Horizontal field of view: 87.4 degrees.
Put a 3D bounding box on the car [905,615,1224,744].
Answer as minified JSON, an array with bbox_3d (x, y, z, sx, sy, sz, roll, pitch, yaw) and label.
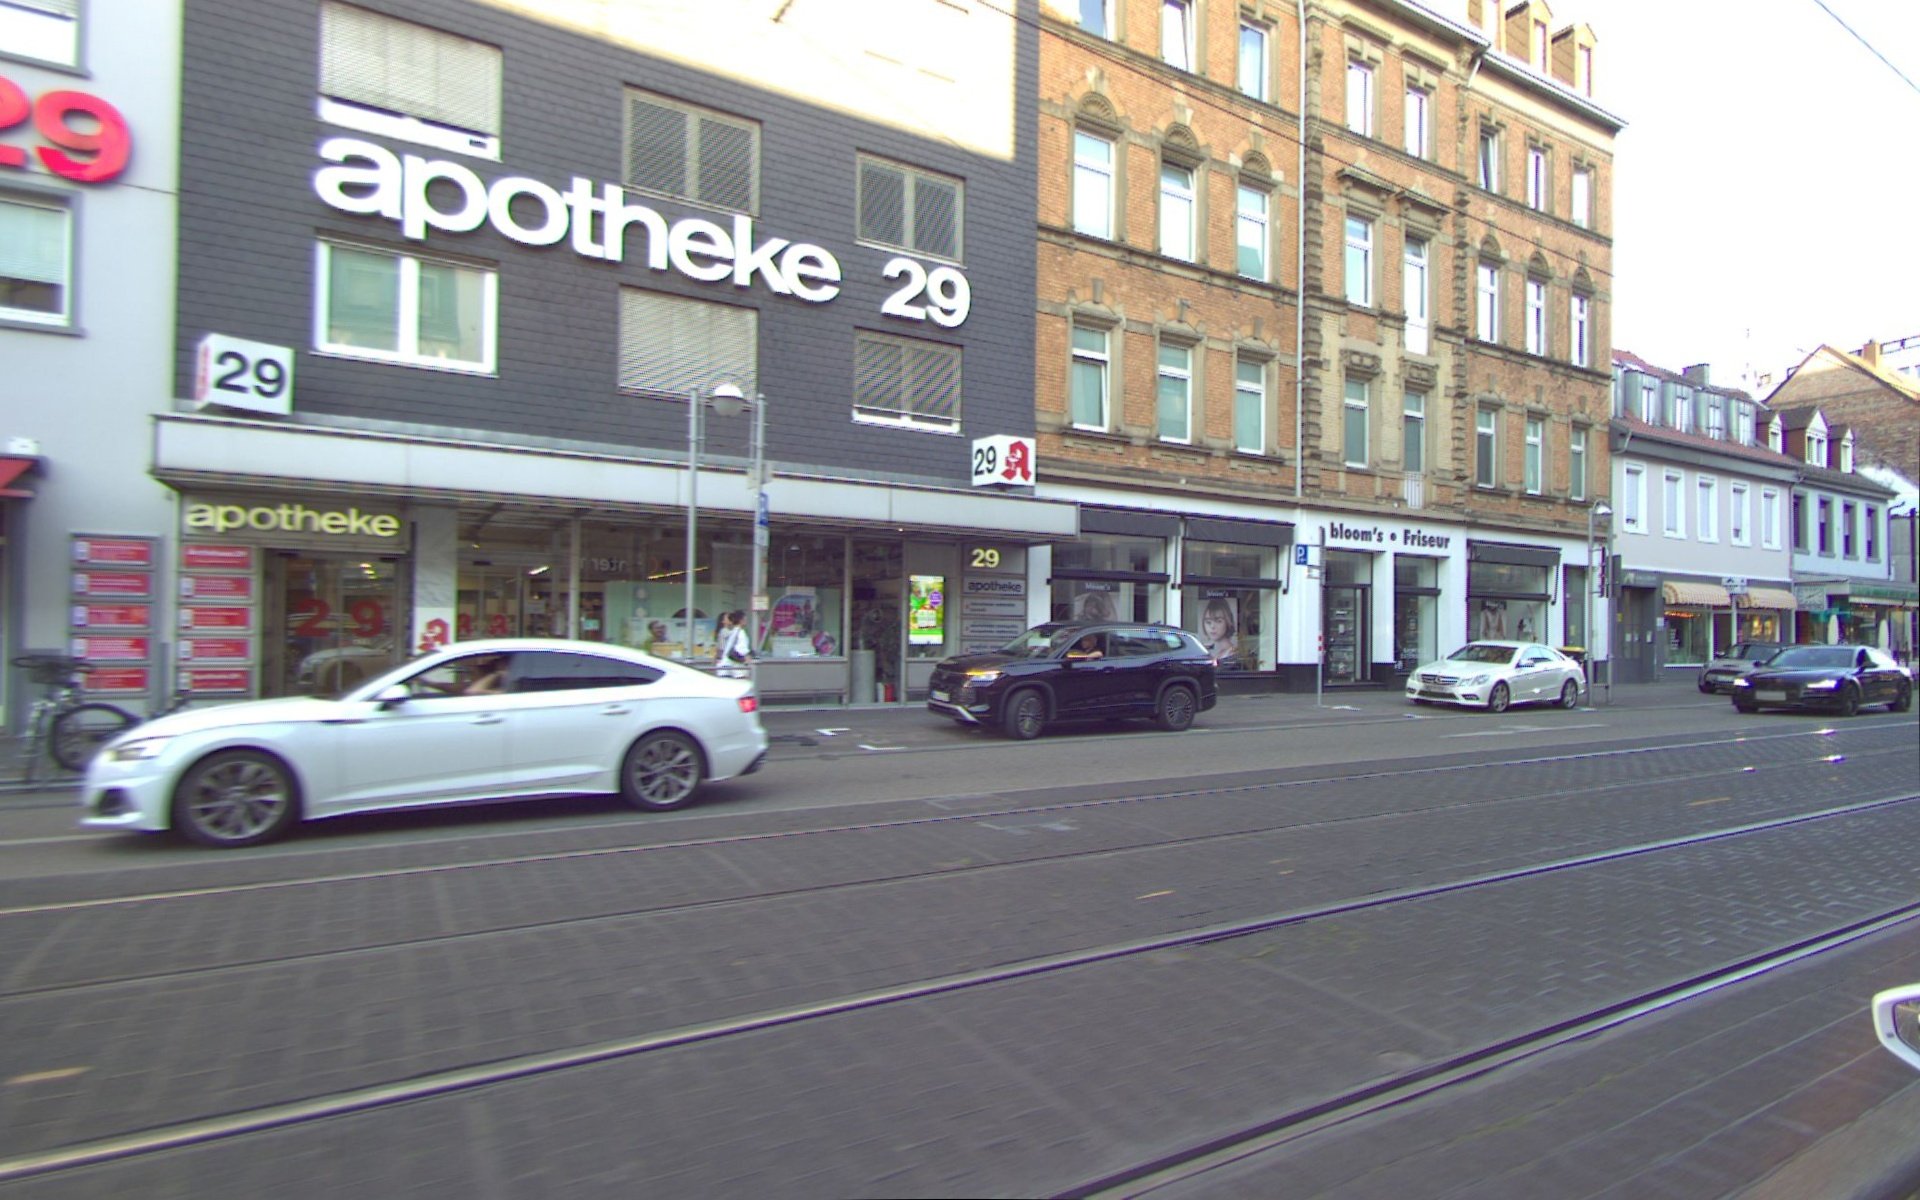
[{"bbox_3d":[1.640,1.130,15.416,4.588,1.697,1.922,1,0,-28],"label":"car"}]

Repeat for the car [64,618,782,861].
[{"bbox_3d":[-3.981,0.967,8.190,4.604,1.471,1.983,2,-4,-32],"label":"car"}]

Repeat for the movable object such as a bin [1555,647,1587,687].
[{"bbox_3d":[17.010,1.863,27.963,0.652,1.057,0.515,1,0,-31],"label":"movable object such as a bin"}]

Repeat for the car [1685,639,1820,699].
[{"bbox_3d":[21.747,1.882,27.548,3.767,1.459,1.591,3,0,-30],"label":"car"}]

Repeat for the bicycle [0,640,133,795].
[{"bbox_3d":[-8.677,1.071,9.815,0.546,1.240,2.102,2,1,-30],"label":"bicycle"}]

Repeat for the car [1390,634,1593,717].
[{"bbox_3d":[11.342,1.539,21.342,4.562,1.472,1.857,2,1,-34],"label":"car"}]

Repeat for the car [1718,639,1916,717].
[{"bbox_3d":[18.162,1.581,21.243,4.599,1.472,1.982,2,-3,-33],"label":"car"}]

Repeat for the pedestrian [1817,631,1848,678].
[{"bbox_3d":[31.267,1.947,36.003,0.686,1.666,0.659,1,-1,-30],"label":"pedestrian"}]

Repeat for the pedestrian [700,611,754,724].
[{"bbox_3d":[-3.569,1.008,15.389,0.617,1.683,0.679,1,0,-30],"label":"pedestrian"}]

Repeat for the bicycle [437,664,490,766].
[{"bbox_3d":[-5.731,1.277,11.555,0.450,0.924,1.796,0,2,-30],"label":"bicycle"}]

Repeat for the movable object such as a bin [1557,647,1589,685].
[{"bbox_3d":[17.504,1.883,28.667,0.686,1.047,0.492,1,0,-31],"label":"movable object such as a bin"}]

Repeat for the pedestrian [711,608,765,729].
[{"bbox_3d":[-3.244,0.980,14.676,0.595,1.722,0.617,1,0,-30],"label":"pedestrian"}]

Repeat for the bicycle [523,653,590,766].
[{"bbox_3d":[-4.719,1.224,11.693,0.483,1.061,1.822,0,2,-30],"label":"bicycle"}]
